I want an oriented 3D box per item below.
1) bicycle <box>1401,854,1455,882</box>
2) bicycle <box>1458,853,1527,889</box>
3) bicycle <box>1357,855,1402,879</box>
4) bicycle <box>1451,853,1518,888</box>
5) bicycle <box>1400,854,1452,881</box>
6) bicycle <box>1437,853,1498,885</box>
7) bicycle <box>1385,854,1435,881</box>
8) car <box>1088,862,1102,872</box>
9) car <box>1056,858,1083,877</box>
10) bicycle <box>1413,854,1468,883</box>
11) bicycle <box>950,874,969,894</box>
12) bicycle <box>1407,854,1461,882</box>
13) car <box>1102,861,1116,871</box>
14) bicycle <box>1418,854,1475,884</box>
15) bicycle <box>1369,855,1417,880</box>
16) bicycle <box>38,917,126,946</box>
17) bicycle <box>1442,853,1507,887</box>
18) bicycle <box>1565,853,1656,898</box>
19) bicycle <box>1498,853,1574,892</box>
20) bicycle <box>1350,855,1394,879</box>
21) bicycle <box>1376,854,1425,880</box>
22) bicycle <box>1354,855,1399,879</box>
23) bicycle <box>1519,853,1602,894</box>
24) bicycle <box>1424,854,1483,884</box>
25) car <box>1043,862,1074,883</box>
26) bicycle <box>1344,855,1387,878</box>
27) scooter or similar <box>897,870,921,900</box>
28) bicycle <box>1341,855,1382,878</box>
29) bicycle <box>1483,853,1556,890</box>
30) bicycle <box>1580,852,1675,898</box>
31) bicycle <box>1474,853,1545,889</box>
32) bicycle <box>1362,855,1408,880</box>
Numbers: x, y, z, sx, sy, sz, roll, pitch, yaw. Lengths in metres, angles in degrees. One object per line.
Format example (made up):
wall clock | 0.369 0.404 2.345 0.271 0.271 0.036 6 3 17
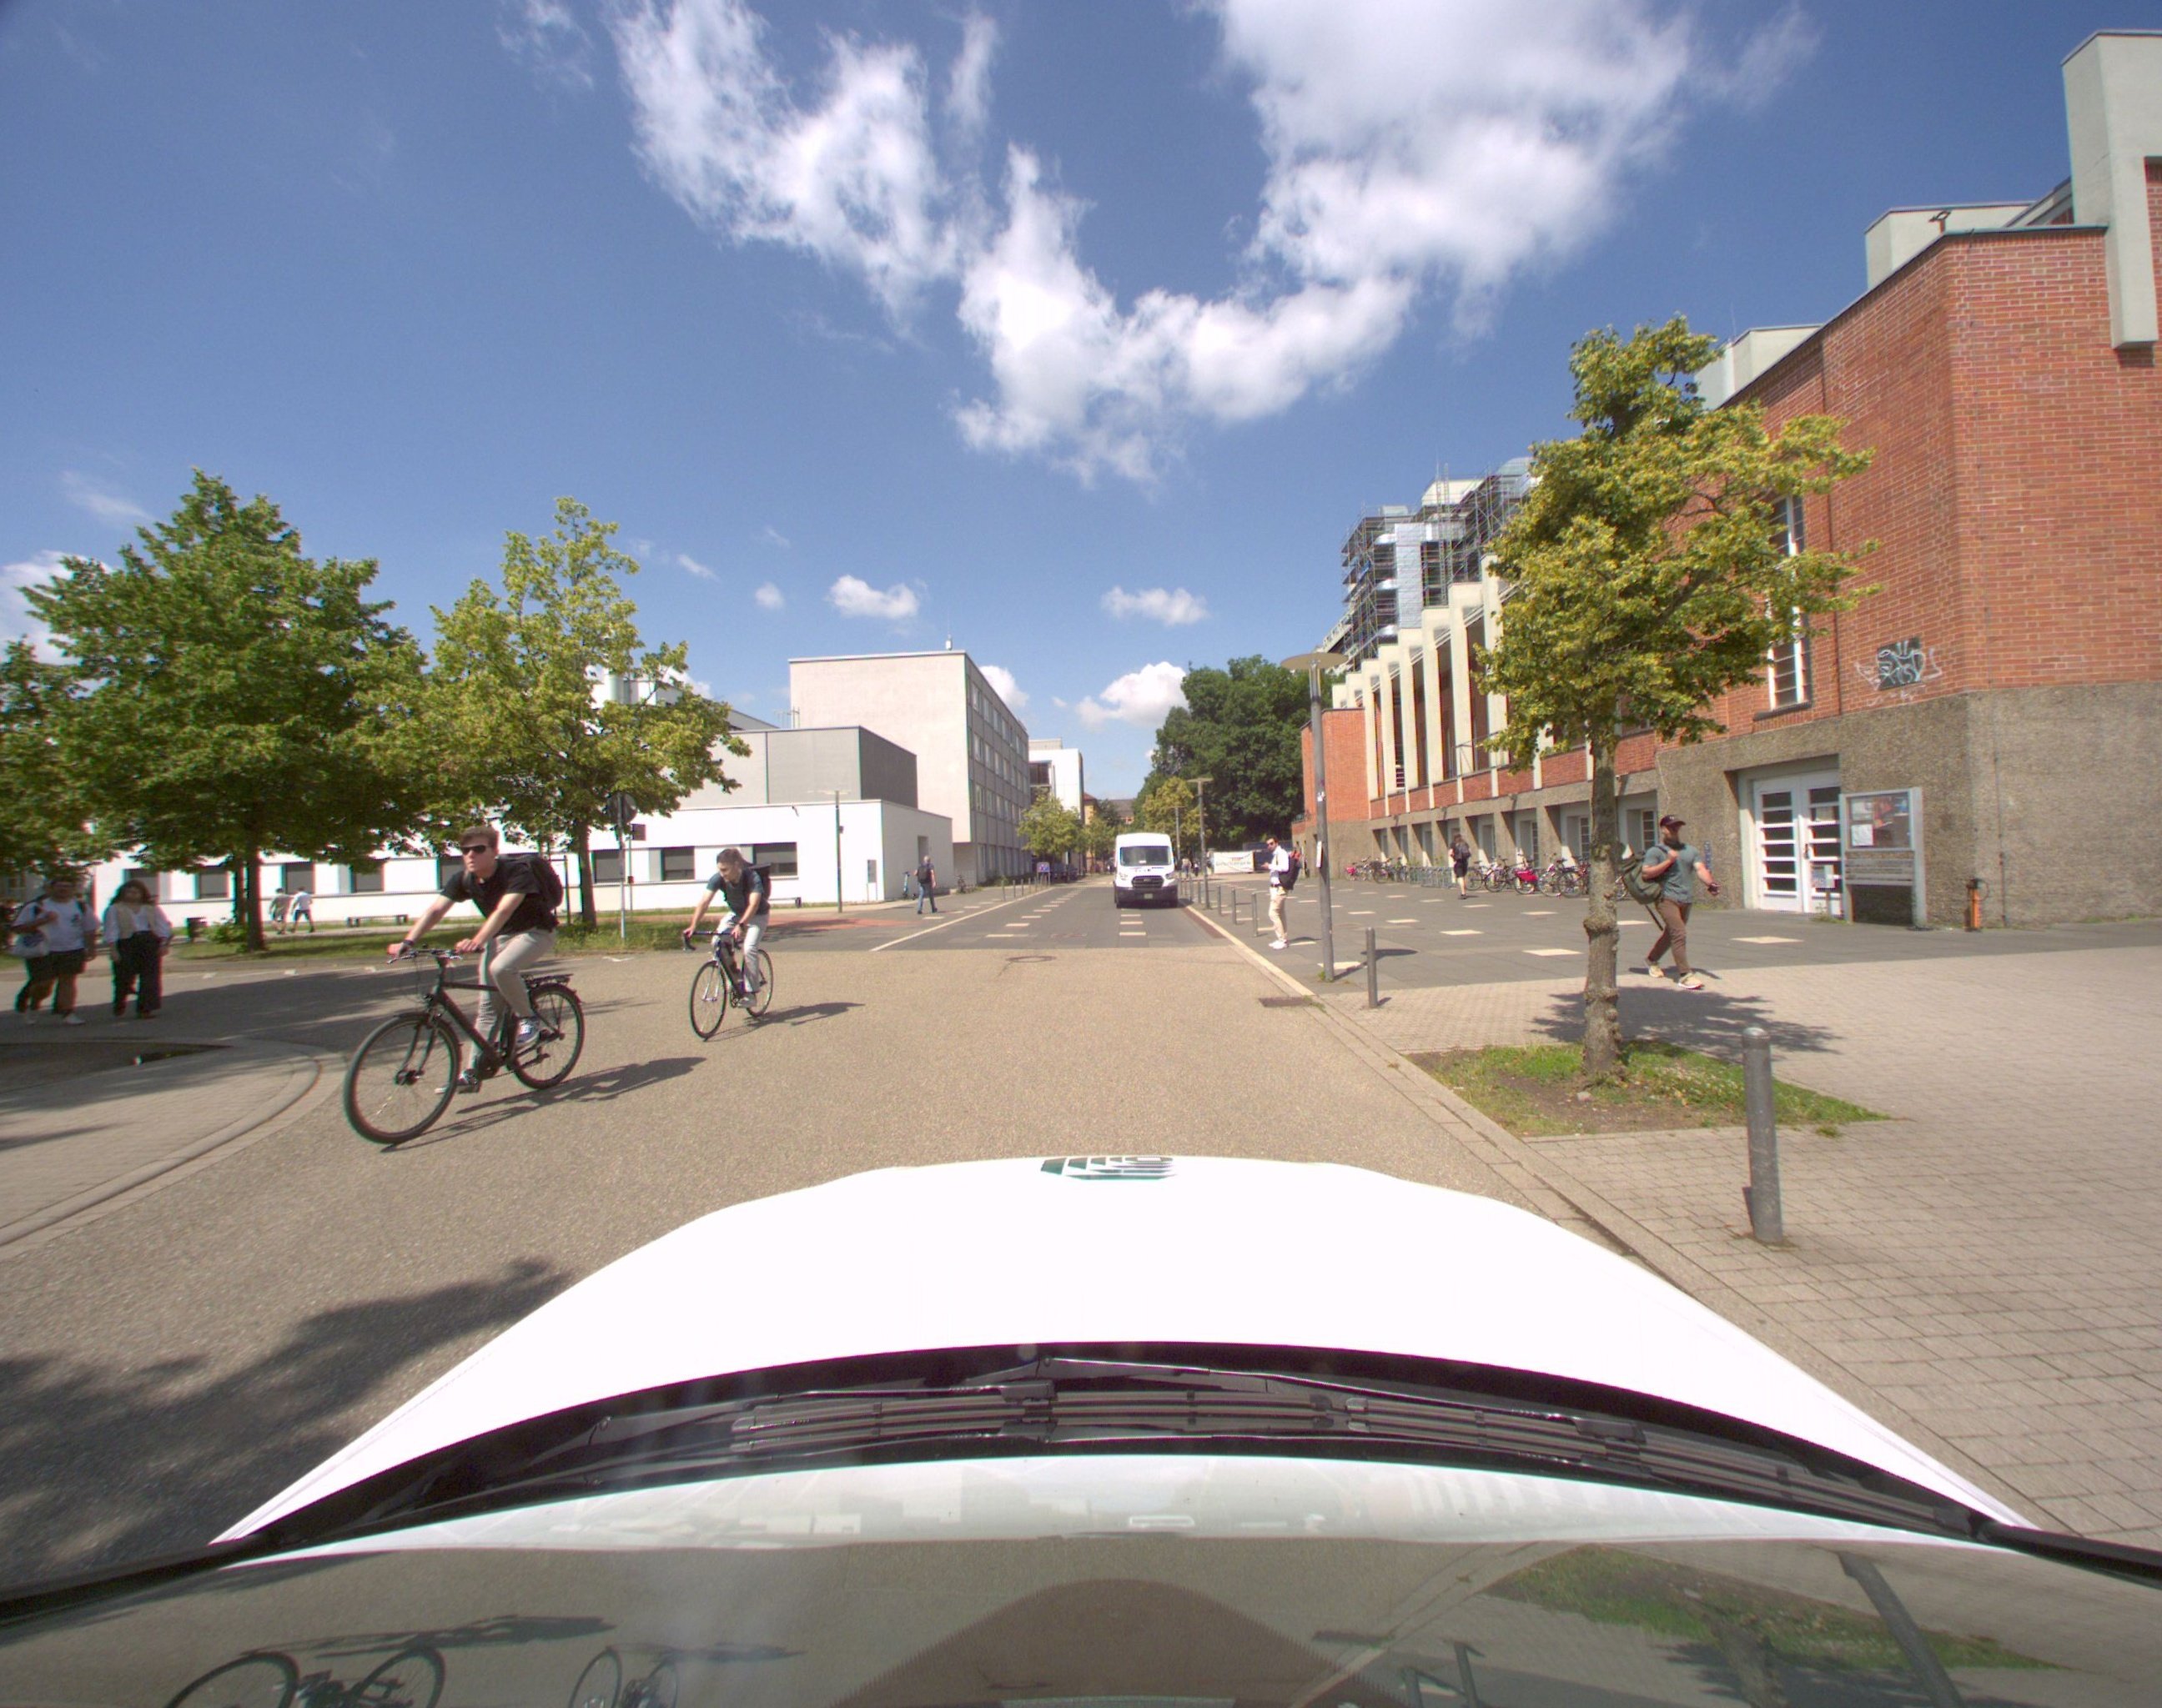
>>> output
bicycle | 13.630 0.540 32.009 1.802 0.985 0.560 -4 -1 2
bicycle | 12.915 0.536 25.586 1.802 0.985 0.560 -4 -1 2
bicycle | 13.494 0.597 36.834 1.802 0.985 0.560 -4 -1 2
bicycle | 12.976 0.521 26.199 1.802 0.985 0.560 -4 -1 2
bicycle | 13.867 0.534 32.741 1.802 0.985 0.560 -4 -1 2
bicycle | 13.466 0.533 28.372 1.802 0.985 0.560 -4 -1 2
bicycle | 13.700 0.553 33.982 1.802 0.985 0.560 -4 -1 2
car | 2.309 2.078 130.465 1.786 1.530 4.008 -3 -1 7
car | -0.964 1.196 72.647 1.786 1.530 4.008 -3 -1 7
bicycle | 13.587 0.535 30.798 1.802 0.985 0.560 -4 -1 2
bicycle | -6.326 1.559 42.526 0.520 0.985 1.636 -4 -1 7
bicycle | 13.605 0.533 31.395 1.802 0.985 0.560 -4 -1 2
car | 4.530 1.876 130.222 1.786 1.530 4.008 -3 -1 7
bicycle | 13.561 0.538 30.202 1.802 0.985 0.560 -4 -1 2
bicycle | 13.518 0.583 35.296 1.802 0.985 0.560 -4 -1 2
bicycle | -39.343 3.050 32.086 2.119 1.002 0.807 -1 -1 -13
bicycle | 12.946 0.523 26.810 1.802 0.985 0.560 -4 -1 2
bicycle | 12.736 0.509 19.609 1.777 0.978 0.560 -3 -1 1
bicycle | 12.910 0.525 23.132 1.802 0.985 0.560 -4 -1 2
bicycle | 13.605 0.611 38.049 1.802 0.985 0.560 -4 -1 2
bicycle | 13.584 0.567 34.620 1.802 0.985 0.560 -4 -1 2
bicycle | 13.545 0.603 37.396 1.802 0.985 0.560 -4 -1 2
bicycle | 12.766 0.515 21.719 1.802 0.985 0.560 -4 -1 2
bicycle | 13.511 0.534 29.562 1.802 0.985 0.560 -4 -1 2
car | -1.778 1.420 64.442 1.786 1.530 4.008 -3 -1 7
bicycle | 13.688 0.605 39.166 1.802 0.985 0.560 -4 -1 2
scooter or similar | -7.407 1.322 35.111 0.374 1.216 1.211 -3 -1 19
bicycle | 13.812 0.607 40.126 1.802 0.985 0.560 -4 -1 2
bicycle | 13.024 0.513 24.234 1.802 0.985 0.560 -4 -1 2
bicycle | 12.709 0.484 18.965 1.784 0.969 0.560 -3 -1 2
bicycle | 13.101 0.511 24.904 1.802 0.985 0.560 -4 -1 2
bicycle | 13.476 0.607 36.127 1.802 0.985 0.560 -4 -1 2
